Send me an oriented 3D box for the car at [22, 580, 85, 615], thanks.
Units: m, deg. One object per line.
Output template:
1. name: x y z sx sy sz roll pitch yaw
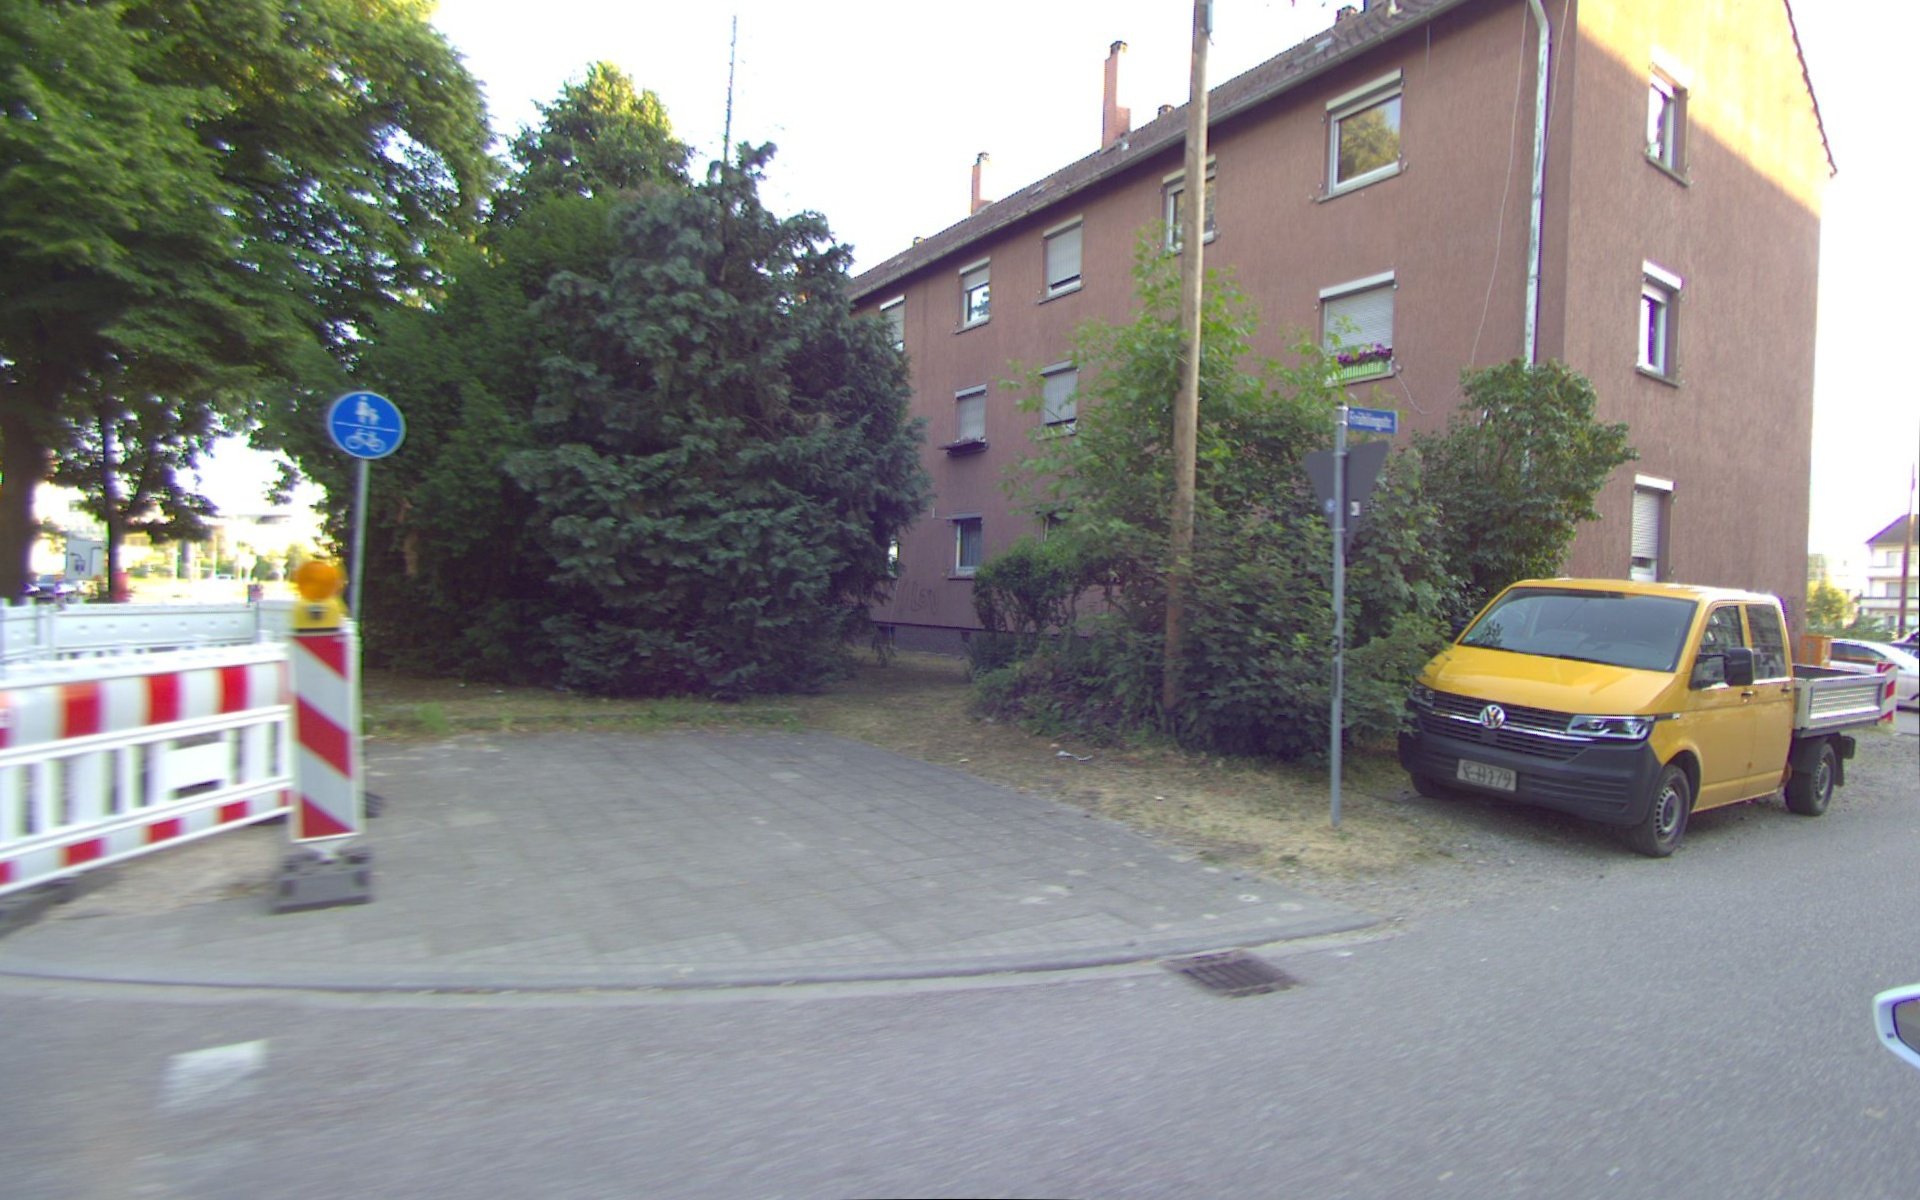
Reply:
1. car: -43.771 -0.137 48.581 1.774 1.578 4.364 1 1 -36

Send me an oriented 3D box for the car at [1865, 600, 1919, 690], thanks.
1. car: 30.734 1.456 29.555 2.197 2.661 5.657 2 0 -32

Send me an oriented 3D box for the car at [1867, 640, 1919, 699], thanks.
1. car: 26.124 1.889 25.865 1.711 1.448 3.810 2 0 -36

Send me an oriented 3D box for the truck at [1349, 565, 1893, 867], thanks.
1. truck: 6.061 0.828 8.905 5.604 1.938 2.021 3 0 -35

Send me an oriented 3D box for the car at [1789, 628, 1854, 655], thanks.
1. car: 74.471 3.592 86.814 4.988 2.040 2.302 2 0 -24

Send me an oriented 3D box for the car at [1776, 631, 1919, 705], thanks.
1. car: 22.835 1.680 24.386 1.712 1.565 4.384 2 0 -37

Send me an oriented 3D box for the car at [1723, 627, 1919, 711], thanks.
1. car: 20.833 1.587 22.930 2.092 1.565 4.966 2 1 -31
